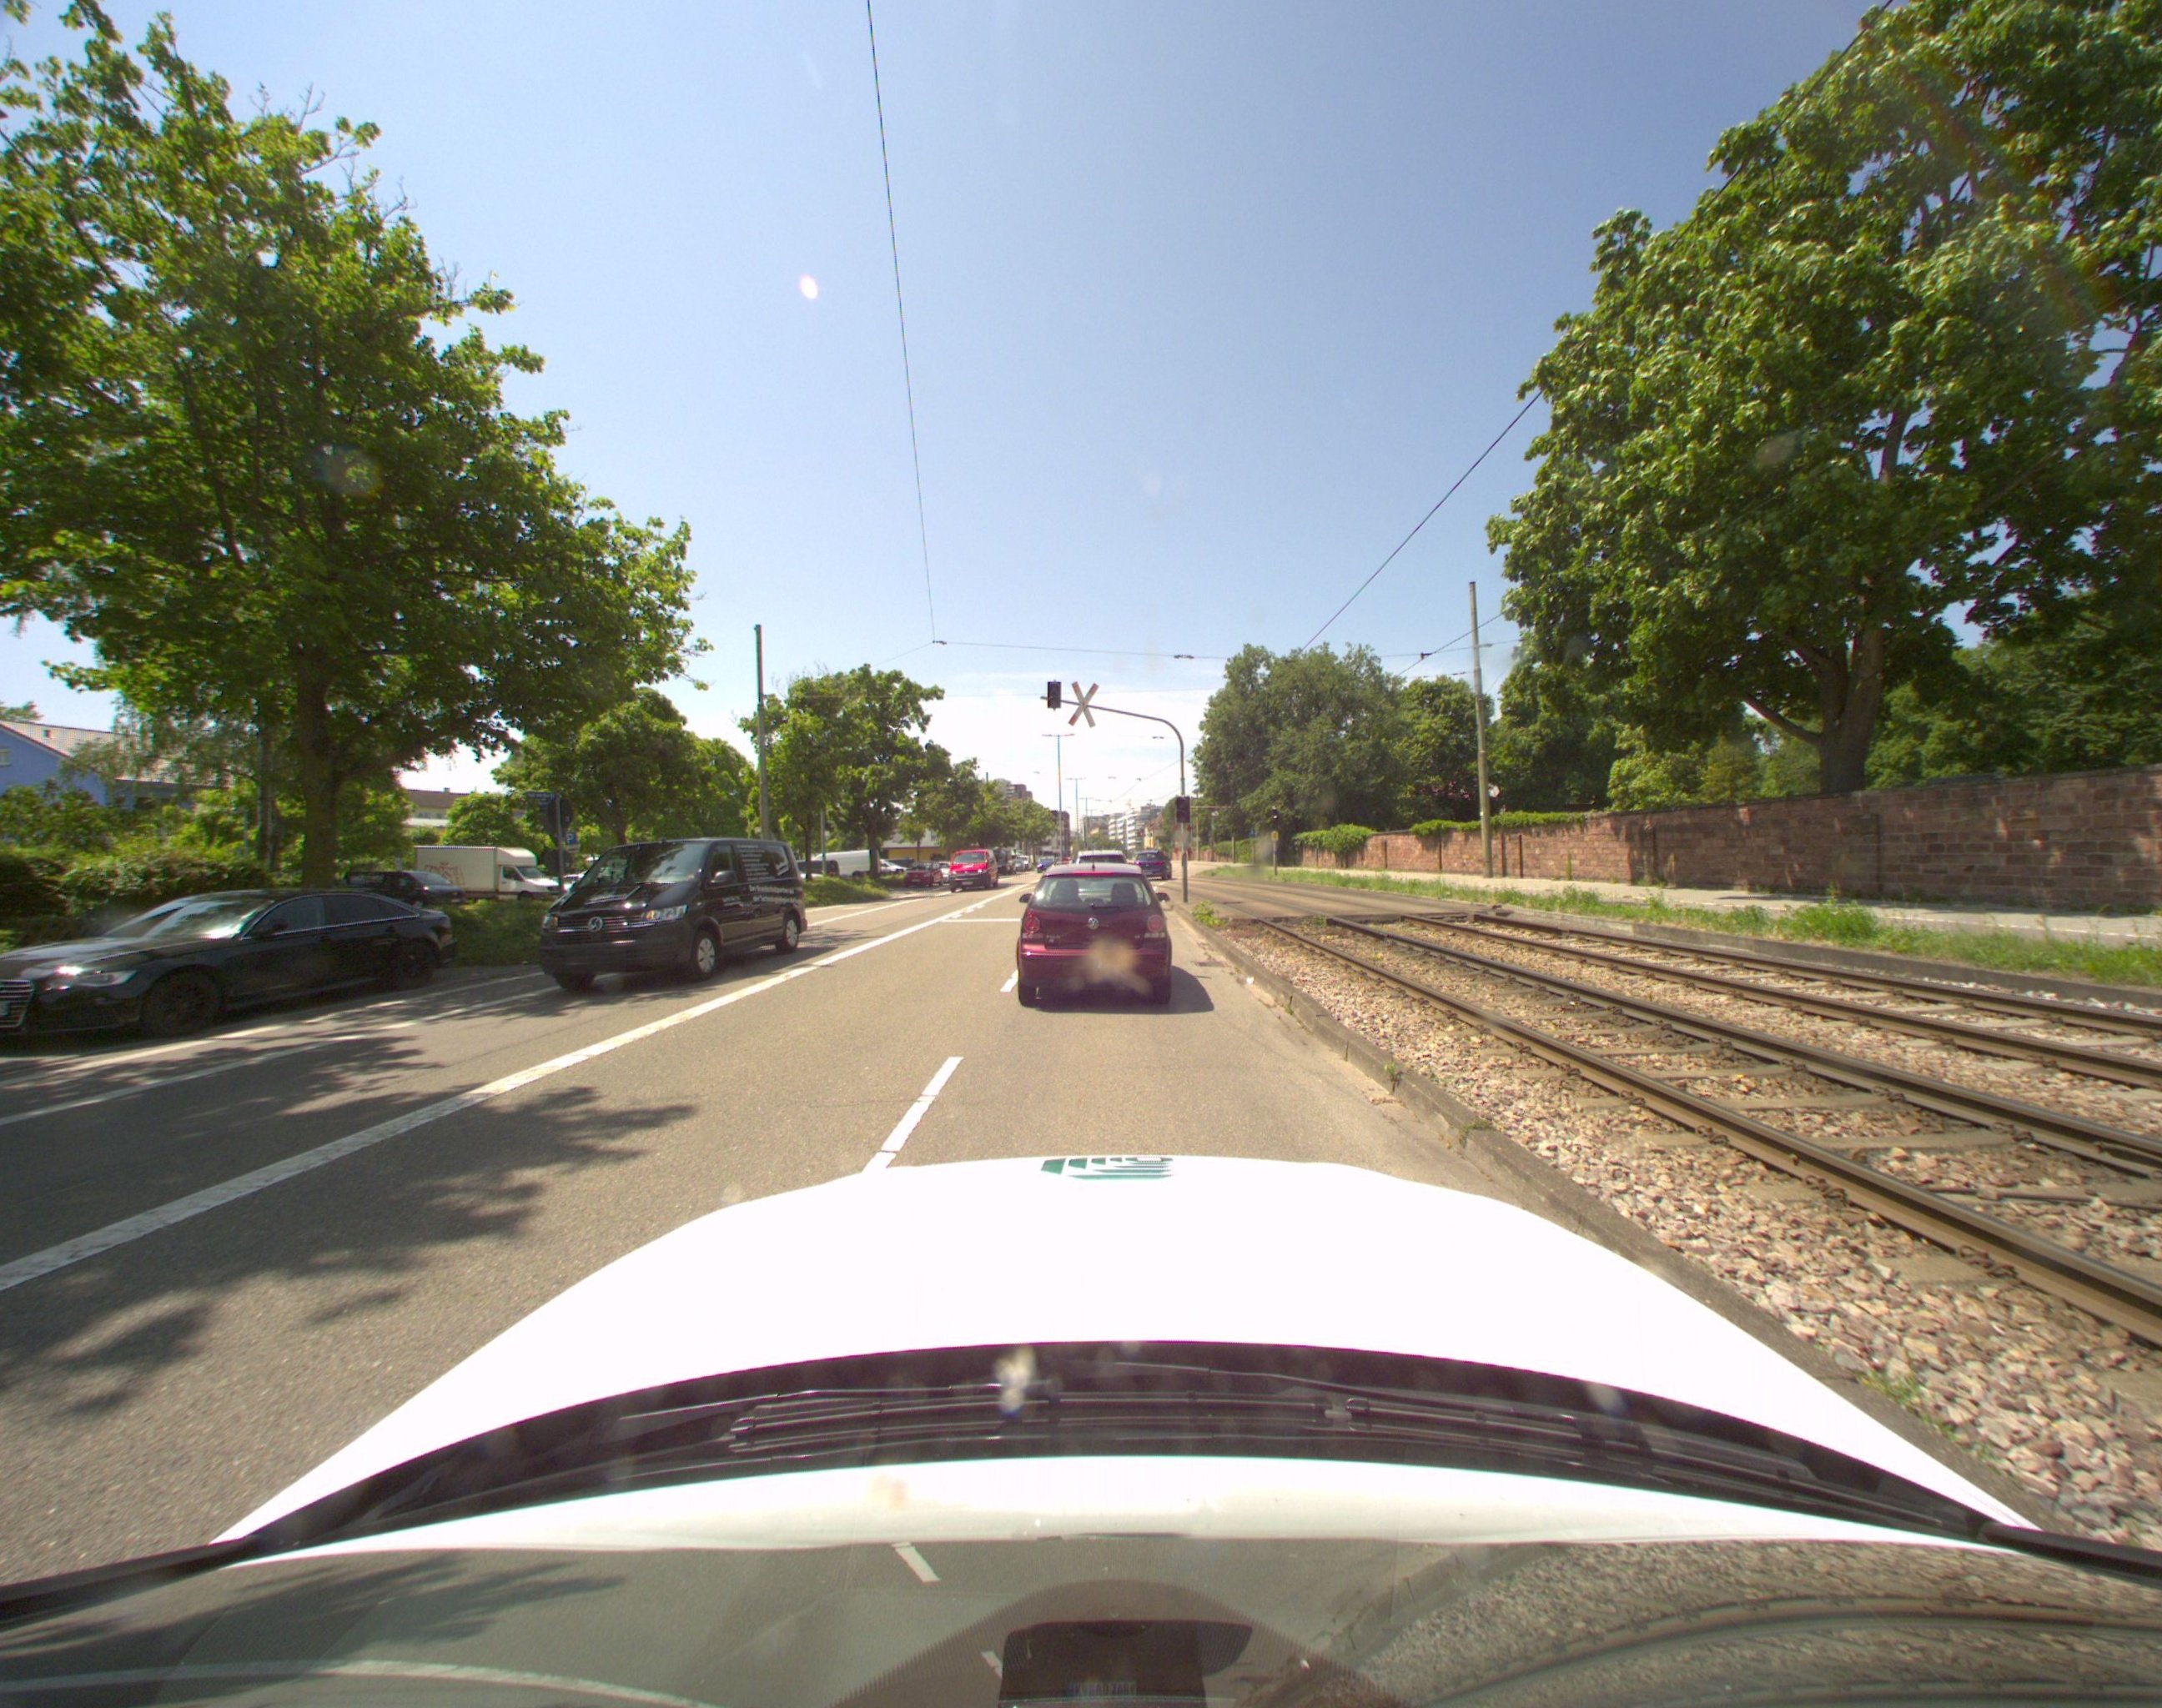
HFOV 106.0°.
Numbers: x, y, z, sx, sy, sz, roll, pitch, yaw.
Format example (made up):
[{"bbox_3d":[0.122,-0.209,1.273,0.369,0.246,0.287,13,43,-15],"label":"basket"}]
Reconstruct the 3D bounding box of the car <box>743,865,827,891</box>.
[{"bbox_3d":[-19.562,1.568,53.964,4.746,1.488,2.058,-2,0,0],"label":"car"}]

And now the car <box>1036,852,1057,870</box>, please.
[{"bbox_3d":[-3.388,0.677,80.641,1.731,1.657,4.068,-3,0,1],"label":"car"}]

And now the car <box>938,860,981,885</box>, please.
[{"bbox_3d":[-7.911,1.153,53.356,1.711,1.427,4.776,-4,0,4],"label":"car"}]

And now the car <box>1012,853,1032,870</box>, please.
[{"bbox_3d":[-7.184,0.916,100.090,1.868,1.965,5.166,2,0,2],"label":"car"}]

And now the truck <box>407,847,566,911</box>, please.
[{"bbox_3d":[-32.286,1.326,44.350,6.955,3.227,2.150,-1,0,-1],"label":"truck"}]

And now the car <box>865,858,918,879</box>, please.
[{"bbox_3d":[-18.743,1.418,80.630,4.703,1.813,1.796,-2,0,0],"label":"car"}]

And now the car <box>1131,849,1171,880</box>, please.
[{"bbox_3d":[3.974,0.576,45.617,1.762,1.630,4.013,-1,0,11],"label":"car"}]

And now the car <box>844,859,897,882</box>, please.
[{"bbox_3d":[-18.692,1.456,72.473,4.196,1.765,1.856,-2,0,0],"label":"car"}]

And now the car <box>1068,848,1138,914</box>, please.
[{"bbox_3d":[0.608,0.699,23.128,1.789,1.683,4.001,-1,0,1],"label":"car"}]

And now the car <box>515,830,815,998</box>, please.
[{"bbox_3d":[-5.735,0.716,12.041,1.911,1.910,4.572,-3,0,1],"label":"car"}]

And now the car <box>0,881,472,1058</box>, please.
[{"bbox_3d":[-10.138,1.148,9.895,1.888,1.456,4.808,-1,0,-1],"label":"car"}]

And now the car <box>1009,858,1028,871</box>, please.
[{"bbox_3d":[-7.269,1.174,94.269,1.624,1.420,3.871,0,0,4],"label":"car"}]

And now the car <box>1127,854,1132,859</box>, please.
[{"bbox_3d":[13.056,0.608,219.714,1.348,1.252,2.973,-1,0,2],"label":"car"}]

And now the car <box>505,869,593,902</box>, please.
[{"bbox_3d":[-31.986,1.889,49.035,4.113,1.820,1.647,-1,0,0],"label":"car"}]

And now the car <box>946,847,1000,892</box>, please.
[{"bbox_3d":[-5.167,0.713,39.734,1.893,1.926,4.819,-3,0,0],"label":"car"}]

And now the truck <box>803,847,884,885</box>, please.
[{"bbox_3d":[-18.771,0.907,64.454,5.556,2.759,2.433,-2,0,2],"label":"truck"}]

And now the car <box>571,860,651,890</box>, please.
[{"bbox_3d":[-31.471,1.396,54.611,4.113,1.820,1.971,-1,0,0],"label":"car"}]

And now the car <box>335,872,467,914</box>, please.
[{"bbox_3d":[-32.135,1.832,38.565,4.686,1.820,1.942,-1,0,3],"label":"car"}]

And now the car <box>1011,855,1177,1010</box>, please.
[{"bbox_3d":[0.173,0.769,9.964,1.604,1.498,4.001,-1,0,1],"label":"car"}]

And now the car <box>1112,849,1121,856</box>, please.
[{"bbox_3d":[9.503,-0.353,216.934,1.914,1.910,4.565,-2,0,-3],"label":"car"}]

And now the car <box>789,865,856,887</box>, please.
[{"bbox_3d":[-18.710,1.576,58.997,4.196,1.411,1.856,-2,0,0],"label":"car"}]

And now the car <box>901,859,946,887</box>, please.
[{"bbox_3d":[-9.122,1.083,47.364,1.664,1.546,3.730,-1,-1,4],"label":"car"}]

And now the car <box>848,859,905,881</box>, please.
[{"bbox_3d":[-18.831,1.446,75.196,4.703,1.813,1.796,-2,0,0],"label":"car"}]

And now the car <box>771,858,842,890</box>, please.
[{"bbox_3d":[-18.988,1.391,56.536,4.196,1.995,1.856,-2,0,0],"label":"car"}]

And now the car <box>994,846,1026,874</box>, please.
[{"bbox_3d":[-7.040,0.606,81.444,2.389,2.656,6.175,2,0,2],"label":"car"}]

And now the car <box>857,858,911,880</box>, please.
[{"bbox_3d":[-18.769,1.431,77.762,4.703,1.813,1.796,-2,0,0],"label":"car"}]

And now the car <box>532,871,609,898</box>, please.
[{"bbox_3d":[-32.526,1.953,51.960,3.734,1.576,1.733,-1,0,0],"label":"car"}]

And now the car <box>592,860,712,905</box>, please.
[{"bbox_3d":[-19.998,1.288,38.095,4.437,1.857,2.059,-2,0,-3],"label":"car"}]
